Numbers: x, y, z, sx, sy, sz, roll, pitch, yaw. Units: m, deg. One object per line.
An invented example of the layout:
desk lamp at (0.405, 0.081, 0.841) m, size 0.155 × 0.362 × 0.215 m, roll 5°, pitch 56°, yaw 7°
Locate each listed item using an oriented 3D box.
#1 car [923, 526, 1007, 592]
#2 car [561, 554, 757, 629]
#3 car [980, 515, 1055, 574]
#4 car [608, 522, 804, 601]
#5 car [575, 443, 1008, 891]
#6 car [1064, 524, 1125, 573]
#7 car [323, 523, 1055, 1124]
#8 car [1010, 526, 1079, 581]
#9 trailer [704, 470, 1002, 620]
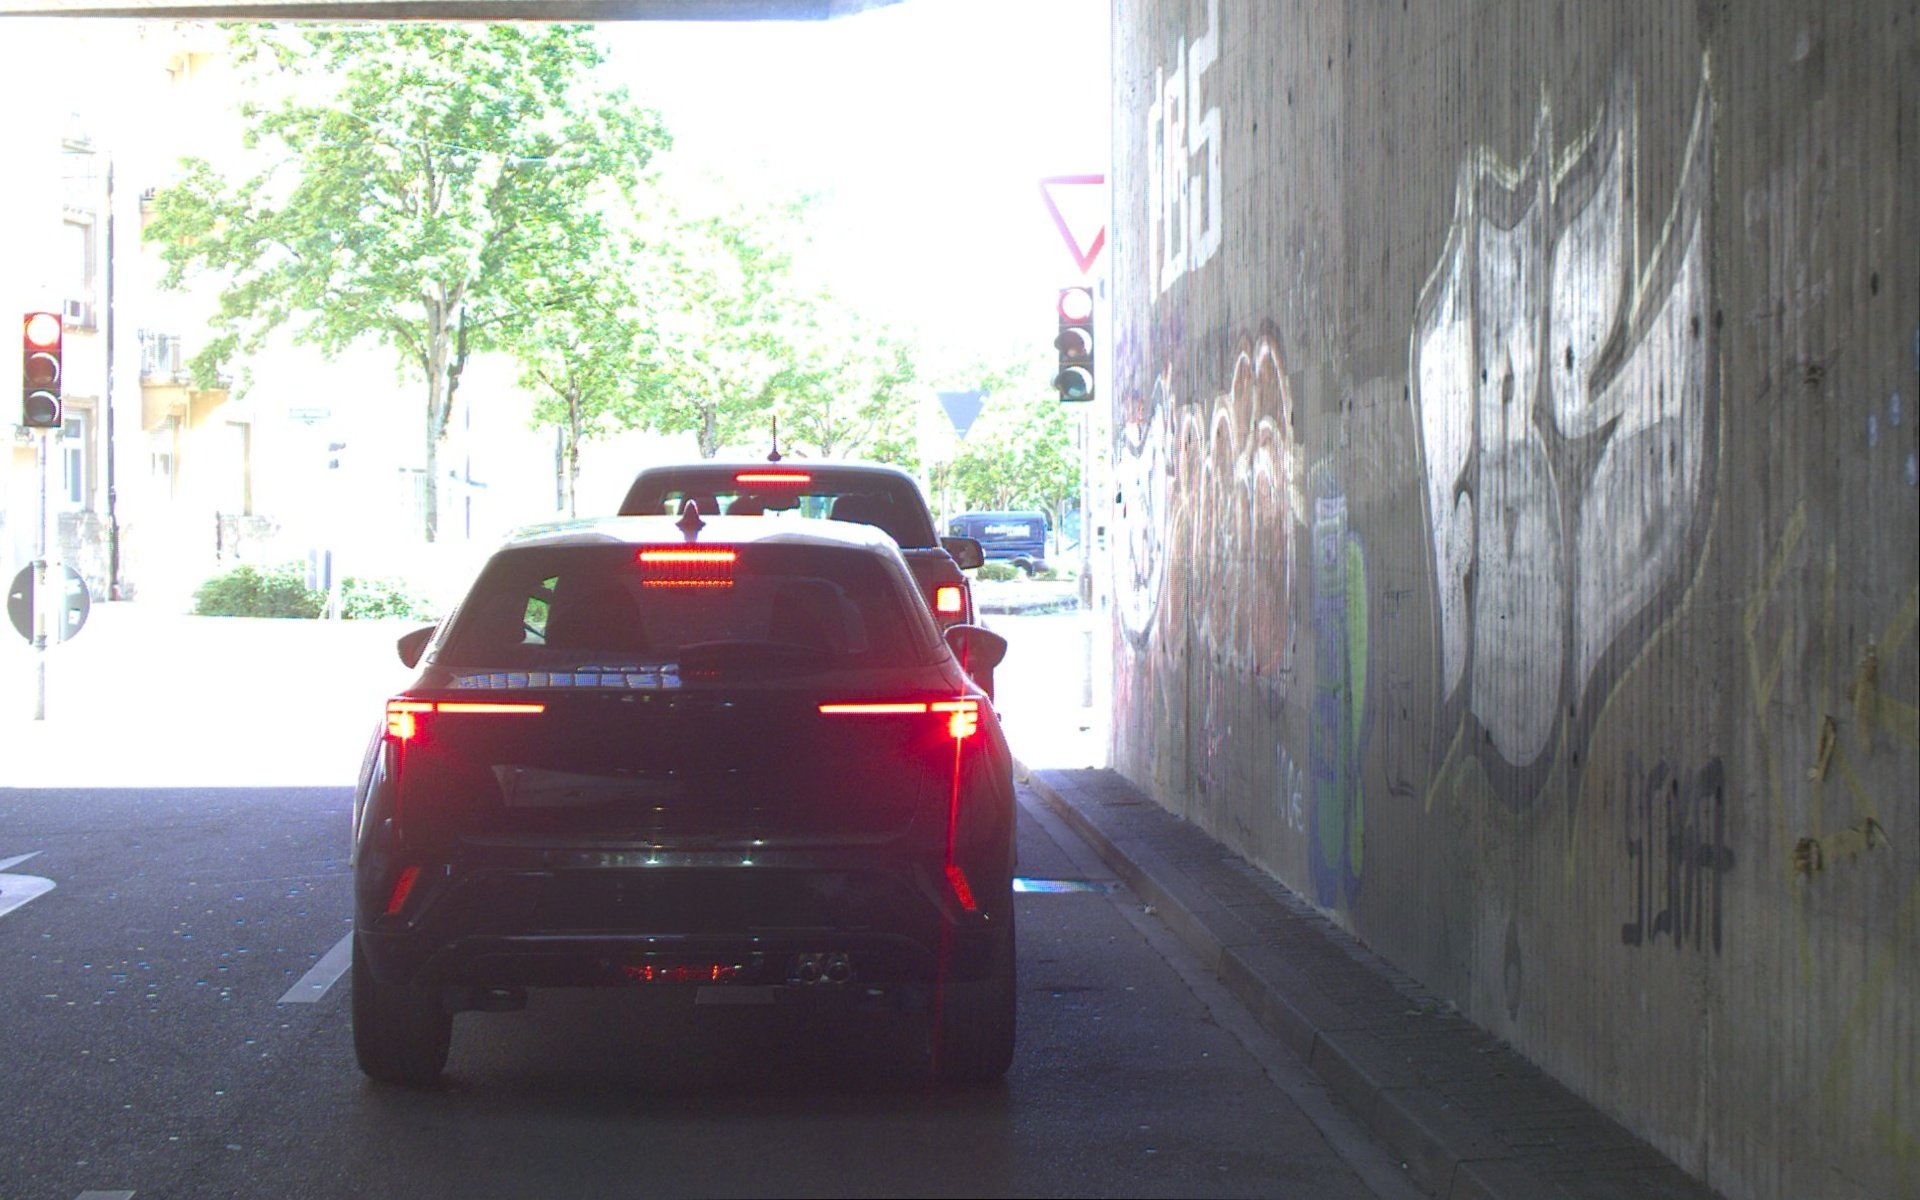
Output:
car at (0.178, -1.324, 109.380) m, size 1.994 × 2.007 × 4.267 m, roll 0°, pitch 1°, yaw 10°
car at (-6.382, -0.185, 73.063) m, size 3.987 × 1.568 × 1.640 m, roll 0°, pitch 1°, yaw 1°
car at (2.025, -1.933, 119.639) m, size 1.994 × 2.007 × 4.267 m, roll 0°, pitch 1°, yaw 10°
car at (-5.699, -0.884, 77.417) m, size 4.151 × 1.733 × 2.000 m, roll 0°, pitch 1°, yaw 4°
car at (-0.832, 0.228, 16.821) m, size 1.815 × 1.876 × 4.586 m, roll -1°, pitch 1°, yaw -3°
car at (5.628, -2.158, 143.074) m, size 1.994 × 2.007 × 4.267 m, roll 0°, pitch 1°, yaw 10°
car at (-0.764, 0.513, 10.707) m, size 1.826 × 1.496 × 4.212 m, roll 0°, pitch 1°, yaw -2°
car at (3.184, -1.744, 128.681) m, size 1.994 × 2.007 × 4.267 m, roll 0°, pitch 1°, yaw 10°
trailer at (-1.443, -0.769, 47.652) m, size 3.987 × 2.007 × 2.000 m, roll 0°, pitch 1°, yaw 2°
